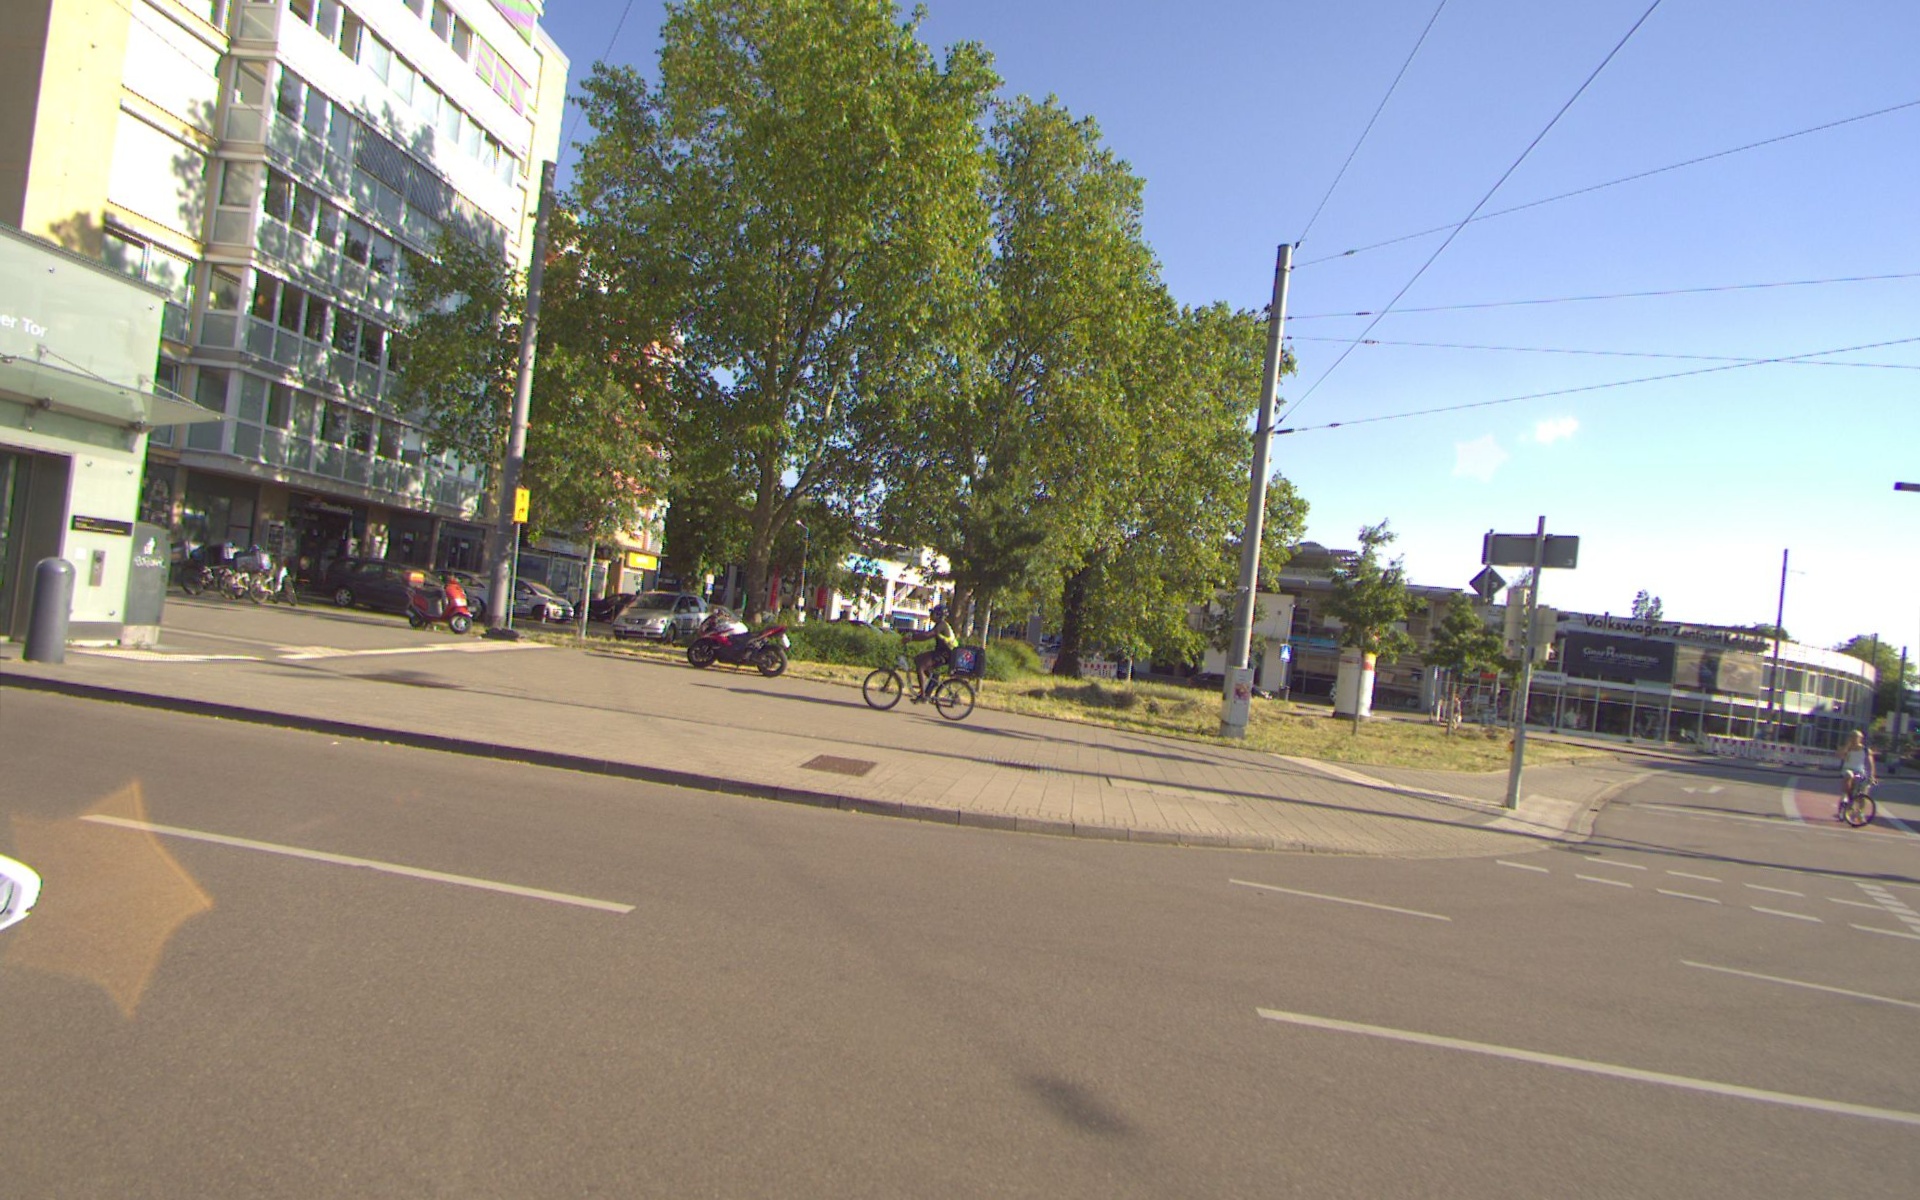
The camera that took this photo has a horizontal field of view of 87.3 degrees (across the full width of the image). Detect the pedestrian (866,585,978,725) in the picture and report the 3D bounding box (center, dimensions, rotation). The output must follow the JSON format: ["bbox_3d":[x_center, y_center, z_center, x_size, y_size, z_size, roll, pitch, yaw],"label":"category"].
[{"bbox_3d":[-0.606,0.899,16.473,1.247,2.038,1.034,9,1,20],"label":"pedestrian"}]

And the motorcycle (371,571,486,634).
[{"bbox_3d":[-10.631,0.053,20.170,1.769,1.059,0.881,6,0,5],"label":"motorcycle"}]

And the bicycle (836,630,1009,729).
[{"bbox_3d":[-0.606,1.271,16.481,2.484,1.137,1.034,10,0,20],"label":"bicycle"}]

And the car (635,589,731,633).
[{"bbox_3d":[-13.470,0.550,49.048,3.925,1.437,1.857,10,0,8],"label":"car"}]

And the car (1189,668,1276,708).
[{"bbox_3d":[14.586,4.701,53.883,4.095,1.353,1.752,10,0,28],"label":"car"}]

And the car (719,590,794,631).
[{"bbox_3d":[-12.388,0.640,61.342,3.925,1.801,1.857,10,0,8],"label":"car"}]

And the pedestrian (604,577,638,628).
[{"bbox_3d":[-13.173,0.114,39.160,0.739,1.888,0.832,7,-1,11],"label":"pedestrian"}]

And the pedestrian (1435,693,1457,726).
[{"bbox_3d":[24.545,5.529,50.856,0.710,1.533,0.832,7,-1,16],"label":"pedestrian"}]

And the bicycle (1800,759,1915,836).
[{"bbox_3d":[17.995,3.926,20.249,1.016,1.136,2.529,5,-2,27],"label":"bicycle"}]

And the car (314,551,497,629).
[{"bbox_3d":[-15.913,-0.279,29.002,4.149,1.500,1.857,10,0,4],"label":"car"}]

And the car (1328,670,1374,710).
[{"bbox_3d":[23.827,5.479,61.220,1.965,2.037,3.997,10,0,28],"label":"car"}]

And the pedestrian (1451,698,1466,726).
[{"bbox_3d":[25.094,5.623,50.635,0.404,1.330,0.573,7,0,16],"label":"pedestrian"}]

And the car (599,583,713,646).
[{"bbox_3d":[-9.573,0.482,32.010,1.885,1.719,4.002,5,-1,7],"label":"car"}]

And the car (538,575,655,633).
[{"bbox_3d":[-14.823,0.181,41.134,3.925,1.654,1.857,10,0,8],"label":"car"}]

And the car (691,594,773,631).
[{"bbox_3d":[-12.808,0.718,56.556,3.925,1.437,1.857,10,0,8],"label":"car"}]

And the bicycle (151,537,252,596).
[{"bbox_3d":[-18.479,-0.795,24.567,0.800,1.264,1.998,6,0,2],"label":"bicycle"}]

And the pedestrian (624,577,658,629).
[{"bbox_3d":[-12.368,0.113,38.980,0.739,1.888,0.832,7,-1,11],"label":"pedestrian"}]

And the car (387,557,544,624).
[{"bbox_3d":[-15.590,-0.276,31.810,3.925,1.437,1.857,10,0,8],"label":"car"}]

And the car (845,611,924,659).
[{"bbox_3d":[-4.226,1.938,56.626,3.926,2.023,1.857,10,0,5],"label":"car"}]

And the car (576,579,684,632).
[{"bbox_3d":[-14.514,0.258,44.389,3.925,1.654,1.857,10,0,8],"label":"car"}]

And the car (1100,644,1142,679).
[{"bbox_3d":[10.749,4.092,67.405,1.768,1.530,3.991,9,4,-3],"label":"car"}]

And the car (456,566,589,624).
[{"bbox_3d":[-16.075,-0.149,37.055,3.925,1.437,1.857,10,0,8],"label":"car"}]

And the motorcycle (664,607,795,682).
[{"bbox_3d":[-4.342,0.829,19.131,2.243,1.087,1.039,8,0,-8],"label":"motorcycle"}]

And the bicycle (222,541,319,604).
[{"bbox_3d":[-16.582,-0.625,24.280,0.800,1.362,1.998,6,0,2],"label":"bicycle"}]

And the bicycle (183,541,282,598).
[{"bbox_3d":[-17.556,-0.717,24.347,0.800,1.215,1.998,6,0,2],"label":"bicycle"}]

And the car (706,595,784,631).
[{"bbox_3d":[-12.681,0.761,59.398,3.925,1.437,1.857,10,0,8],"label":"car"}]

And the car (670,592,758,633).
[{"bbox_3d":[-12.946,0.669,53.067,3.925,1.437,1.857,10,0,8],"label":"car"}]

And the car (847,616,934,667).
[{"bbox_3d":[-3.503,2.089,51.189,3.926,1.891,1.857,10,0,5],"label":"car"}]

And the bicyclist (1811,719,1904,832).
[{"bbox_3d":[18.054,3.491,20.268,1.016,2.037,1.143,5,-1,27],"label":"bicyclist"}]
